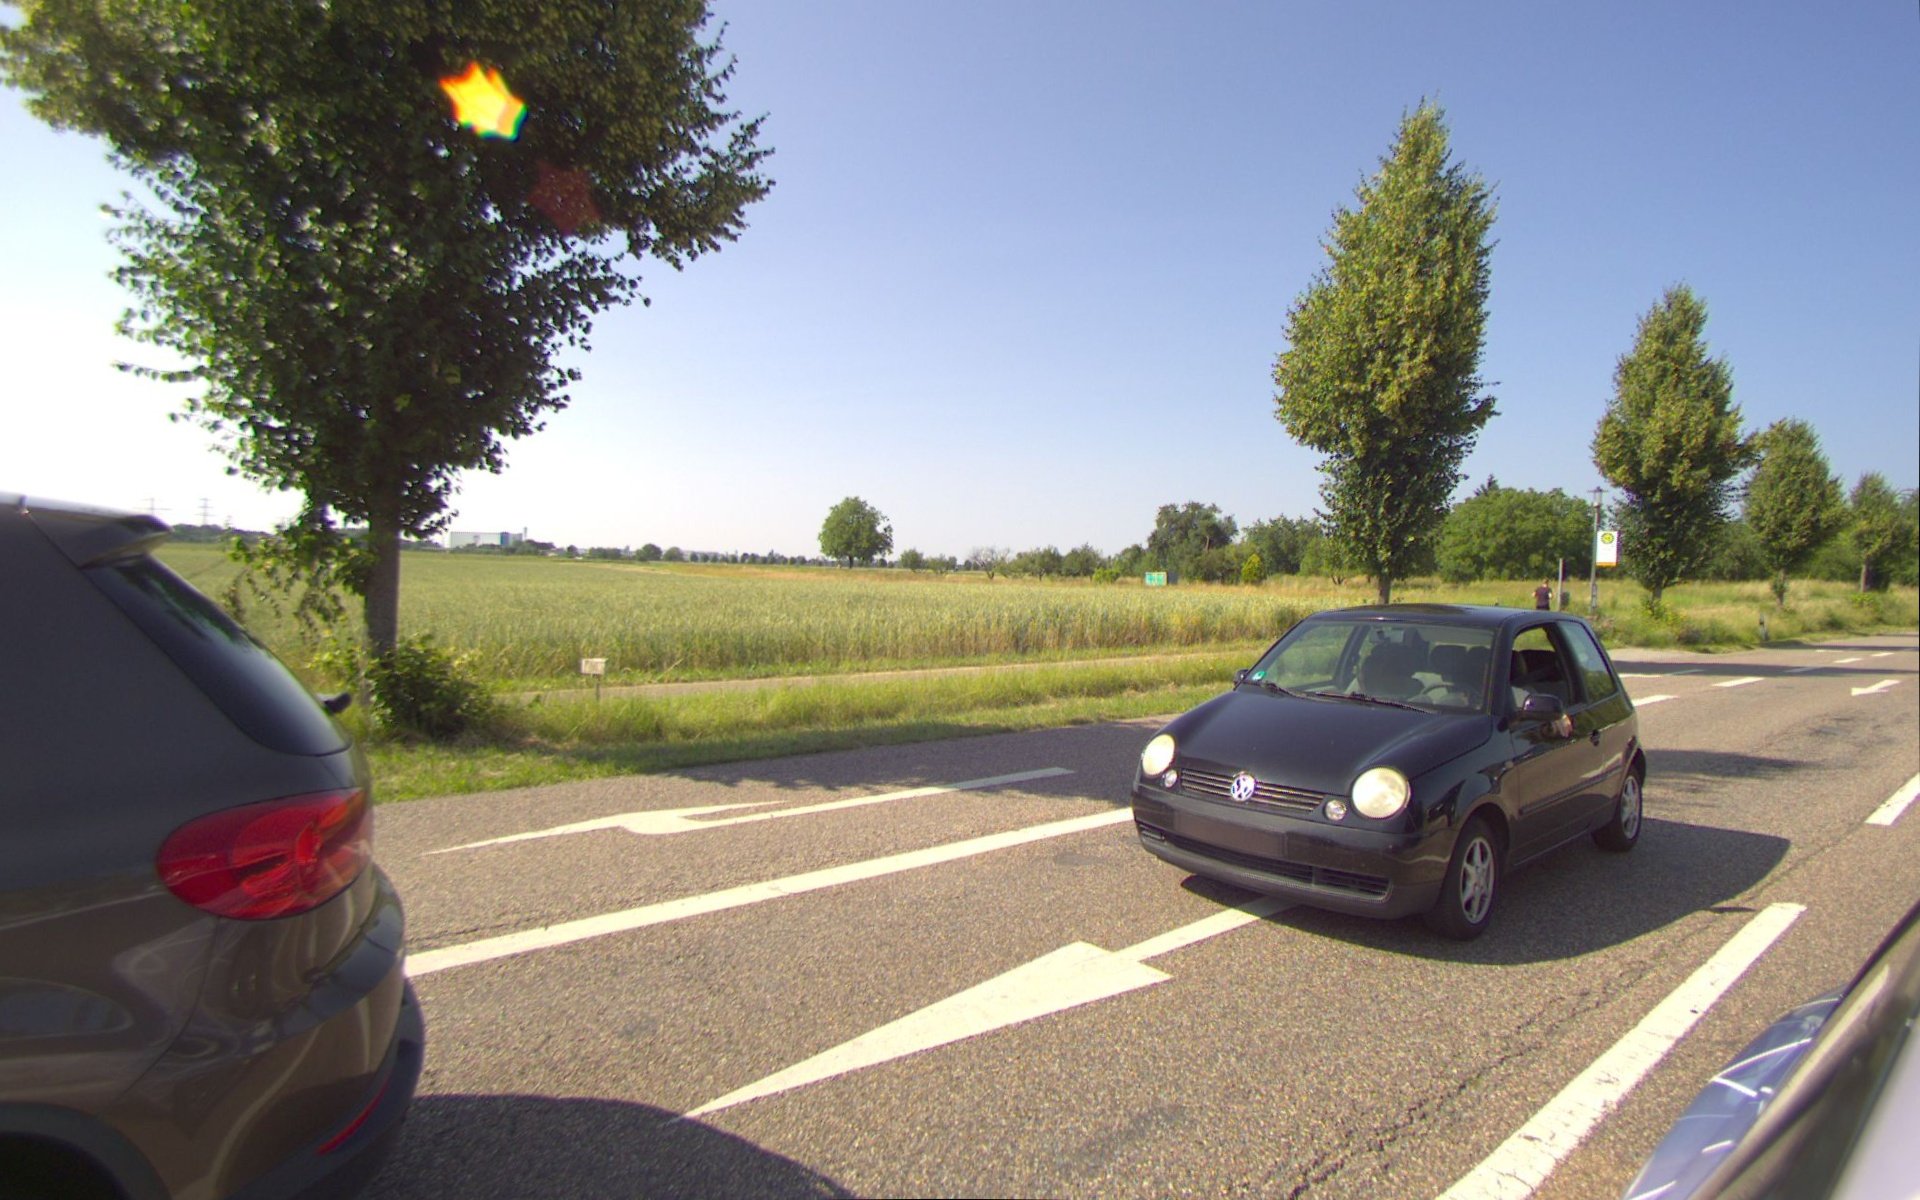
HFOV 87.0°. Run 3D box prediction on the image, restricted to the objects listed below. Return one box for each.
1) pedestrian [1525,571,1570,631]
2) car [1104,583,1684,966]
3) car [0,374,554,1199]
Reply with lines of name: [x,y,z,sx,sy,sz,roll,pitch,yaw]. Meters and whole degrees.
pedestrian: [18.825,0.038,32.422,1.174,1.862,0.903,0,1,-43]
car: [2.583,0.650,5.641,3.560,1.451,1.628,0,0,-42]
car: [-2.805,0.547,1.076,4.075,1.676,1.758,0,0,-42]
